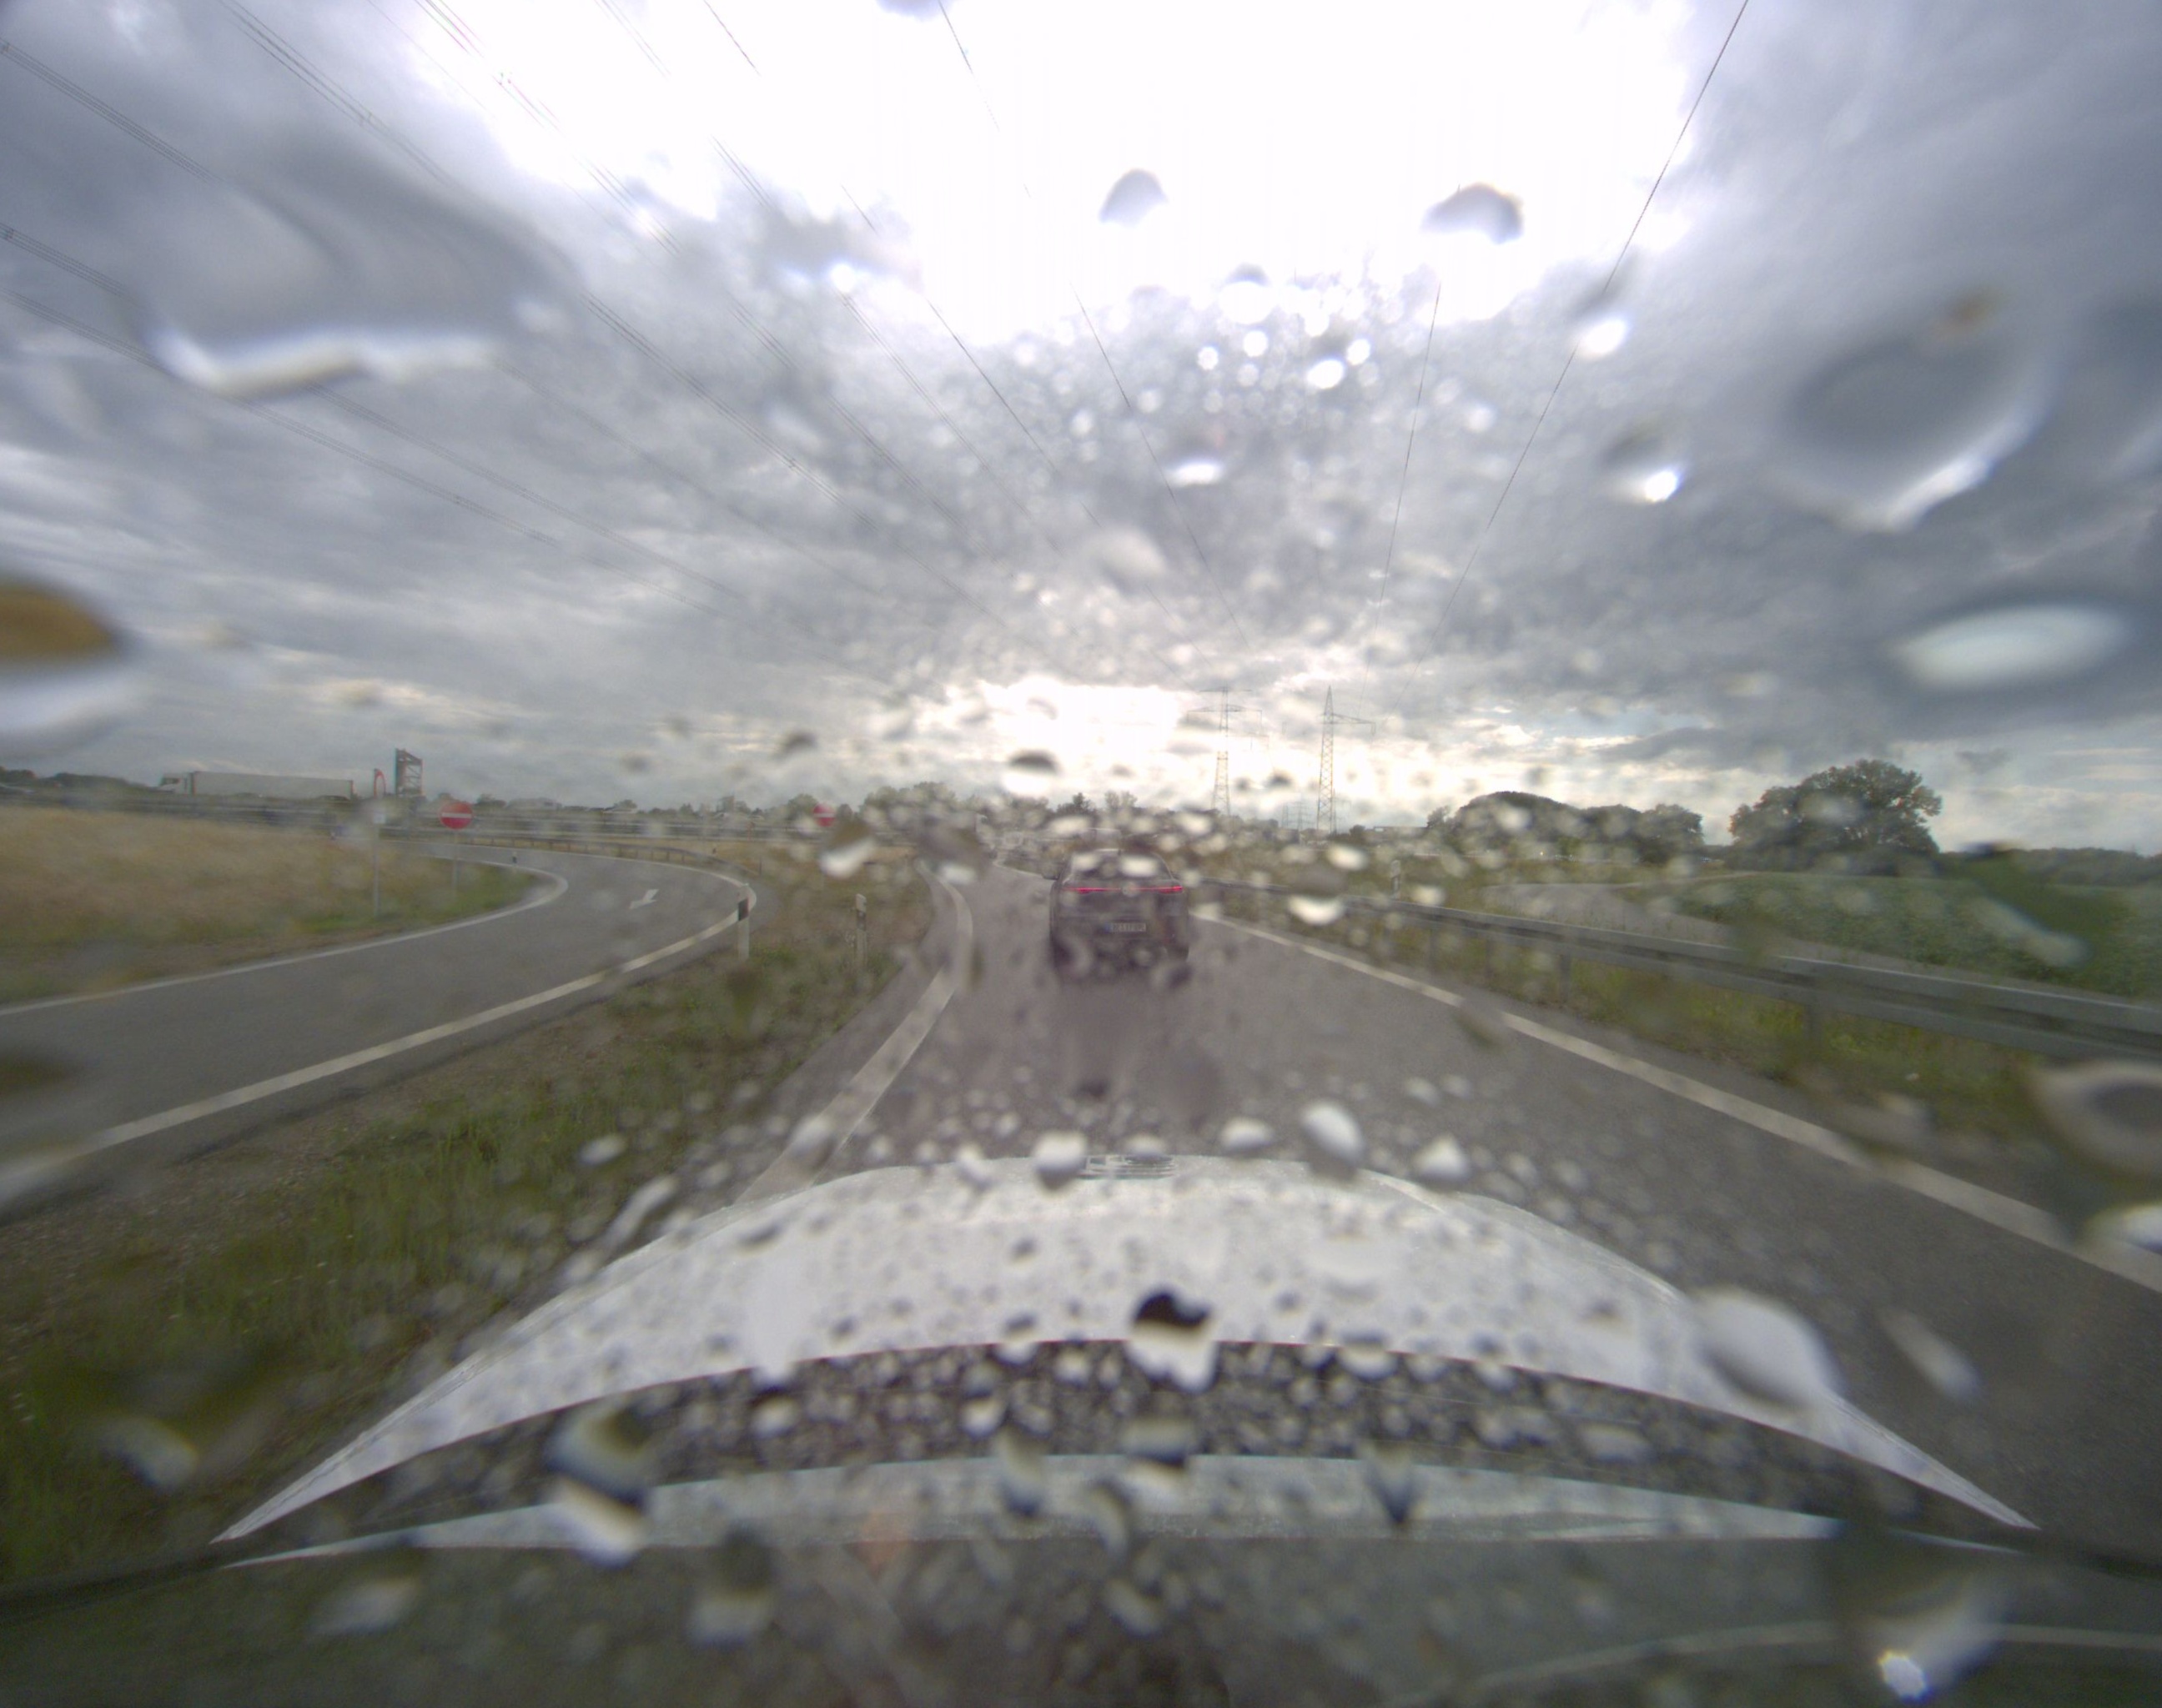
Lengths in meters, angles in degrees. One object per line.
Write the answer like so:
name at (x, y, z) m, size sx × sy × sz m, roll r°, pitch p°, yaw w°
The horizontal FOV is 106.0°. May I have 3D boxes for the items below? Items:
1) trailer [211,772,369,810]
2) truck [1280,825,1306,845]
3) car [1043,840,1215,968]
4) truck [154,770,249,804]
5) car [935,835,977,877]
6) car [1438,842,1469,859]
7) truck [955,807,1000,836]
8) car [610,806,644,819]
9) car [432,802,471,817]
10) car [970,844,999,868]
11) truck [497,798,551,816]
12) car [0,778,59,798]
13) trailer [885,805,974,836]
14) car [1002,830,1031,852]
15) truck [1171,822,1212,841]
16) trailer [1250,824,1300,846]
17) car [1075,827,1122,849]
trailer at (-100.046, -7.903, 103.594) m, size 14.172 × 3.670 × 2.826 m, roll 2°, pitch 2°, yaw -40°
truck at (48.270, -4.386, 185.414) m, size 5.097 × 4.478 × 3.044 m, roll -1°, pitch 3°, yaw -39°
car at (0.518, 0.591, 12.363) m, size 1.991 × 1.566 × 4.141 m, roll -1°, pitch 1°, yaw -6°
truck at (-106.098, -8.017, 98.422) m, size 7.417 × 3.540 × 2.792 m, roll 1°, pitch 2°, yaw -41°
car at (-6.817, 0.047, 44.354) m, size 2.121 × 2.017 × 5.518 m, roll 1°, pitch 3°, yaw -9°
car at (90.238, -0.854, 197.297) m, size 9.092 × 3.610 × 3.355 m, roll 2°, pitch 1°, yaw -41°
truck at (-16.664, -5.259, 131.184) m, size 6.298 × 4.564 × 3.314 m, roll -1°, pitch 3°, yaw -38°
car at (-65.399, -5.943, 117.263) m, size 4.019 × 1.848 × 1.872 m, roll -1°, pitch 3°, yaw -38°
car at (-82.619, -5.860, 106.870) m, size 4.019 × 1.848 × 1.872 m, roll -1°, pitch 3°, yaw -38°
car at (-9.182, 0.163, 77.564) m, size 1.985 × 2.013 × 4.005 m, roll 2°, pitch 3°, yaw 4°
truck at (-81.592, -6.913, 119.287) m, size 6.342 × 2.499 × 1.977 m, roll -1°, pitch 3°, yaw -40°
car at (-105.812, -6.603, 81.523) m, size 4.019 × 1.848 × 1.872 m, roll -1°, pitch 3°, yaw -38°
trailer at (-23.284, -5.153, 125.985) m, size 13.457 × 4.615 × 3.445 m, roll -1°, pitch 3°, yaw -38°
car at (-7.177, -1.477, 91.316) m, size 2.340 × 2.306 × 5.137 m, roll 2°, pitch 3°, yaw 5°
truck at (28.007, -5.645, 205.420) m, size 12.559 × 4.123 × 1.977 m, roll 2°, pitch 1°, yaw -40°
trailer at (43.314, -4.298, 181.434) m, size 13.367 × 4.634 × 3.023 m, roll -1°, pitch 3°, yaw -39°
car at (2.539, -2.323, 114.024) m, size 3.106 × 2.950 × 7.255 m, roll 3°, pitch 3°, yaw 34°
